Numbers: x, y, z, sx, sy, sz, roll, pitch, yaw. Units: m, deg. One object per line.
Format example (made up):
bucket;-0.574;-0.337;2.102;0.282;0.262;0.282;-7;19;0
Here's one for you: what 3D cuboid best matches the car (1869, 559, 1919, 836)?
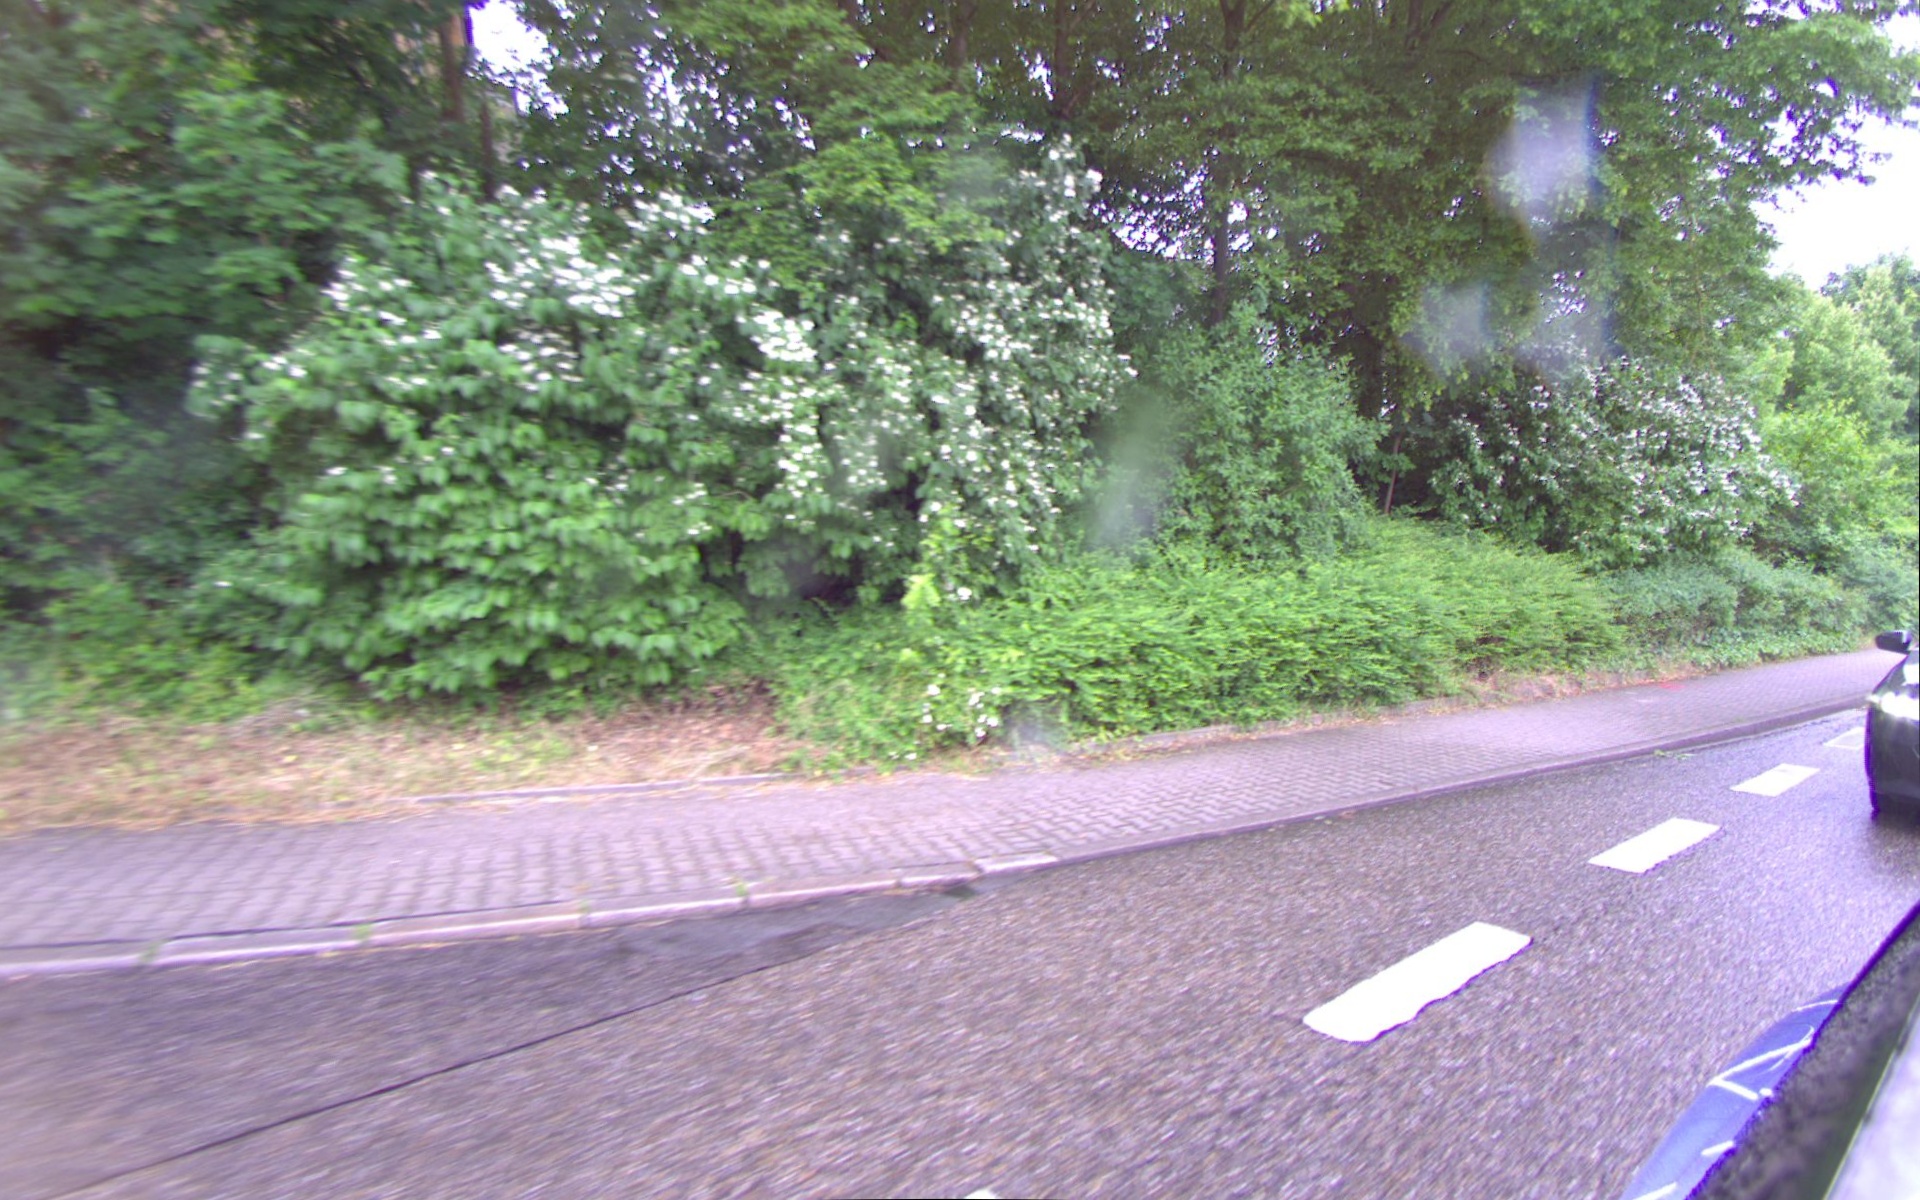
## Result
car;7.495;0.534;6.560;4.048;1.574;1.866;-2;4;-41
